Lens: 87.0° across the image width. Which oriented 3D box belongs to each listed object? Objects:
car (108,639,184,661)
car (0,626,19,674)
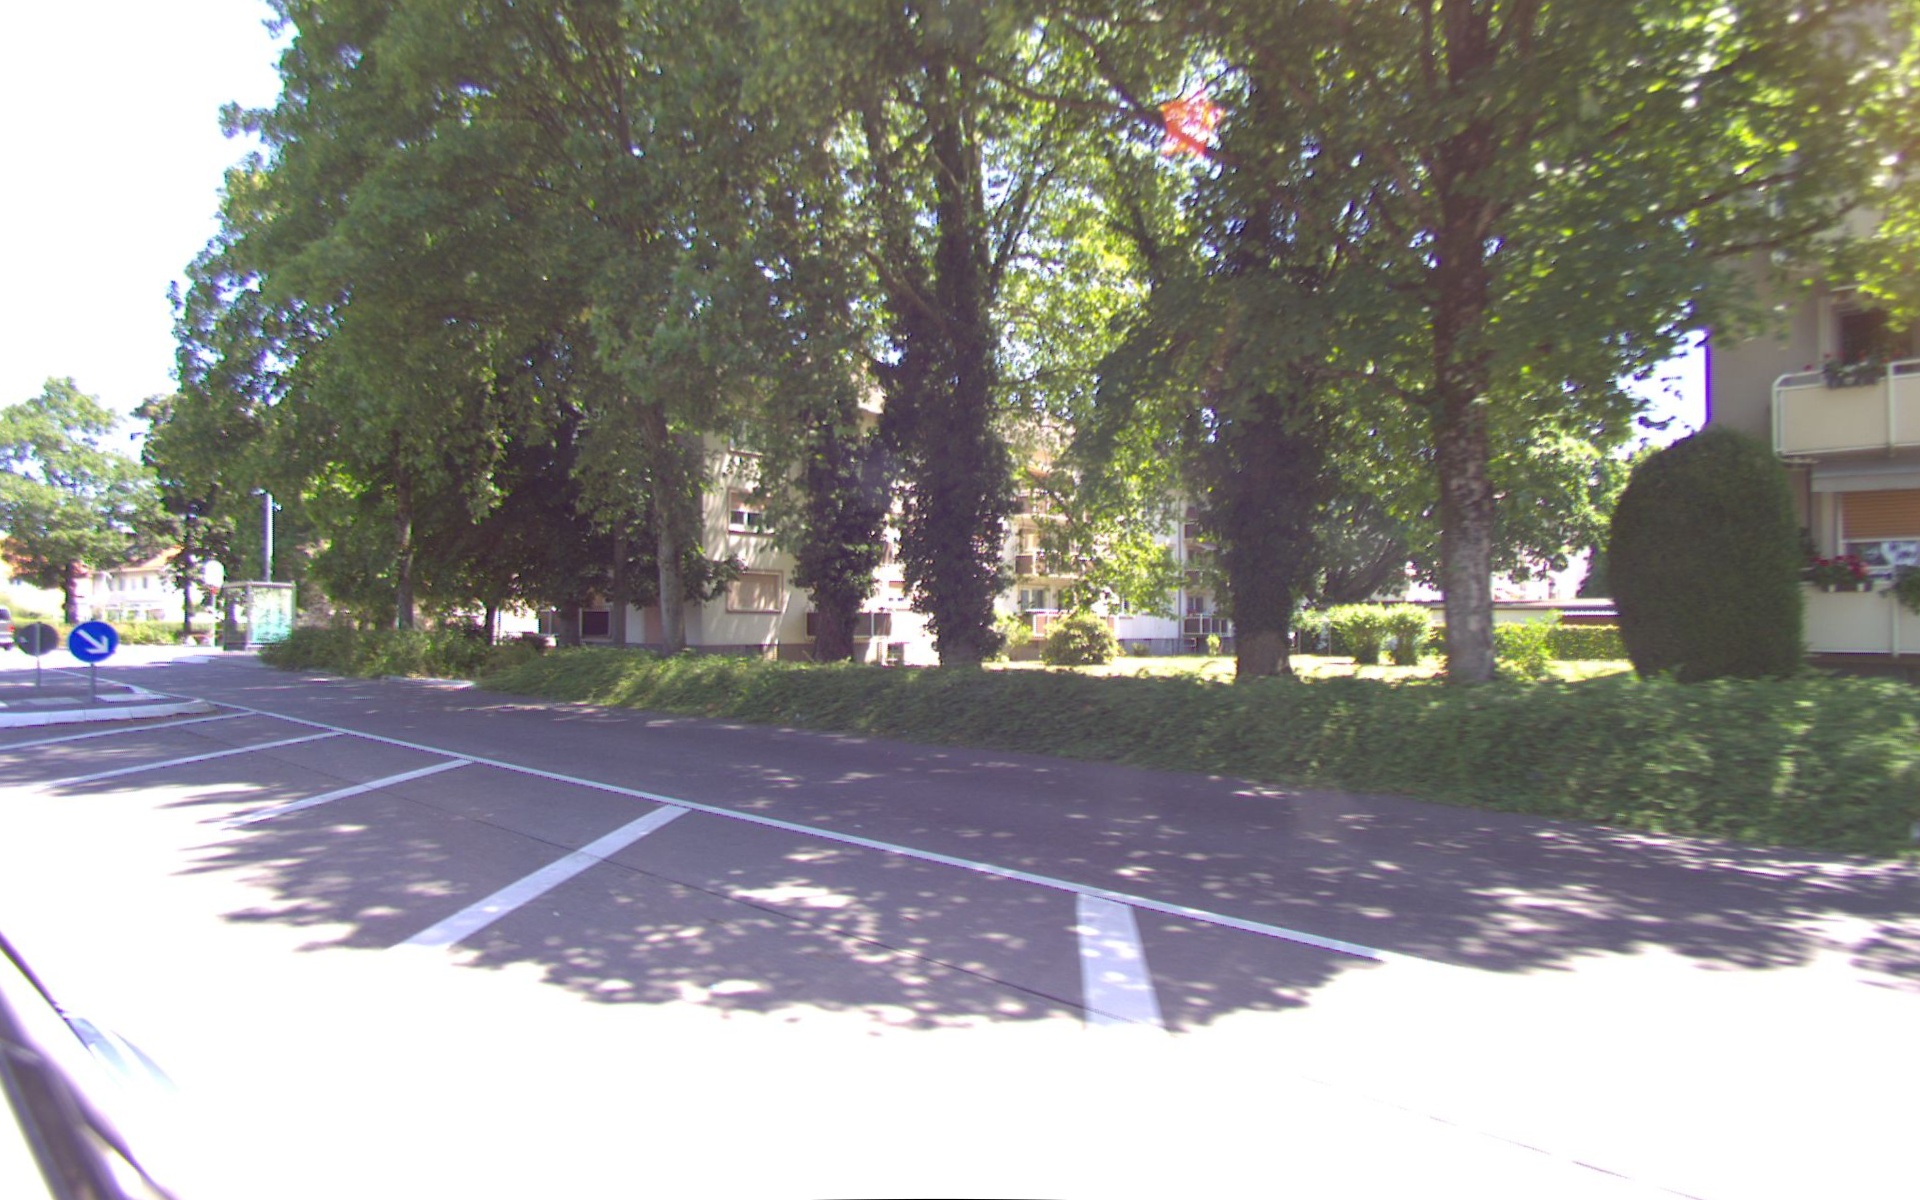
[{"bbox_3d":[-53.941,3.308,67.116,1.543,1.461,3.667,-1,-3,19],"label":"car"},{"bbox_3d":[-42.772,2.147,44.057,4.985,1.924,1.974,0,0,39],"label":"car"}]
